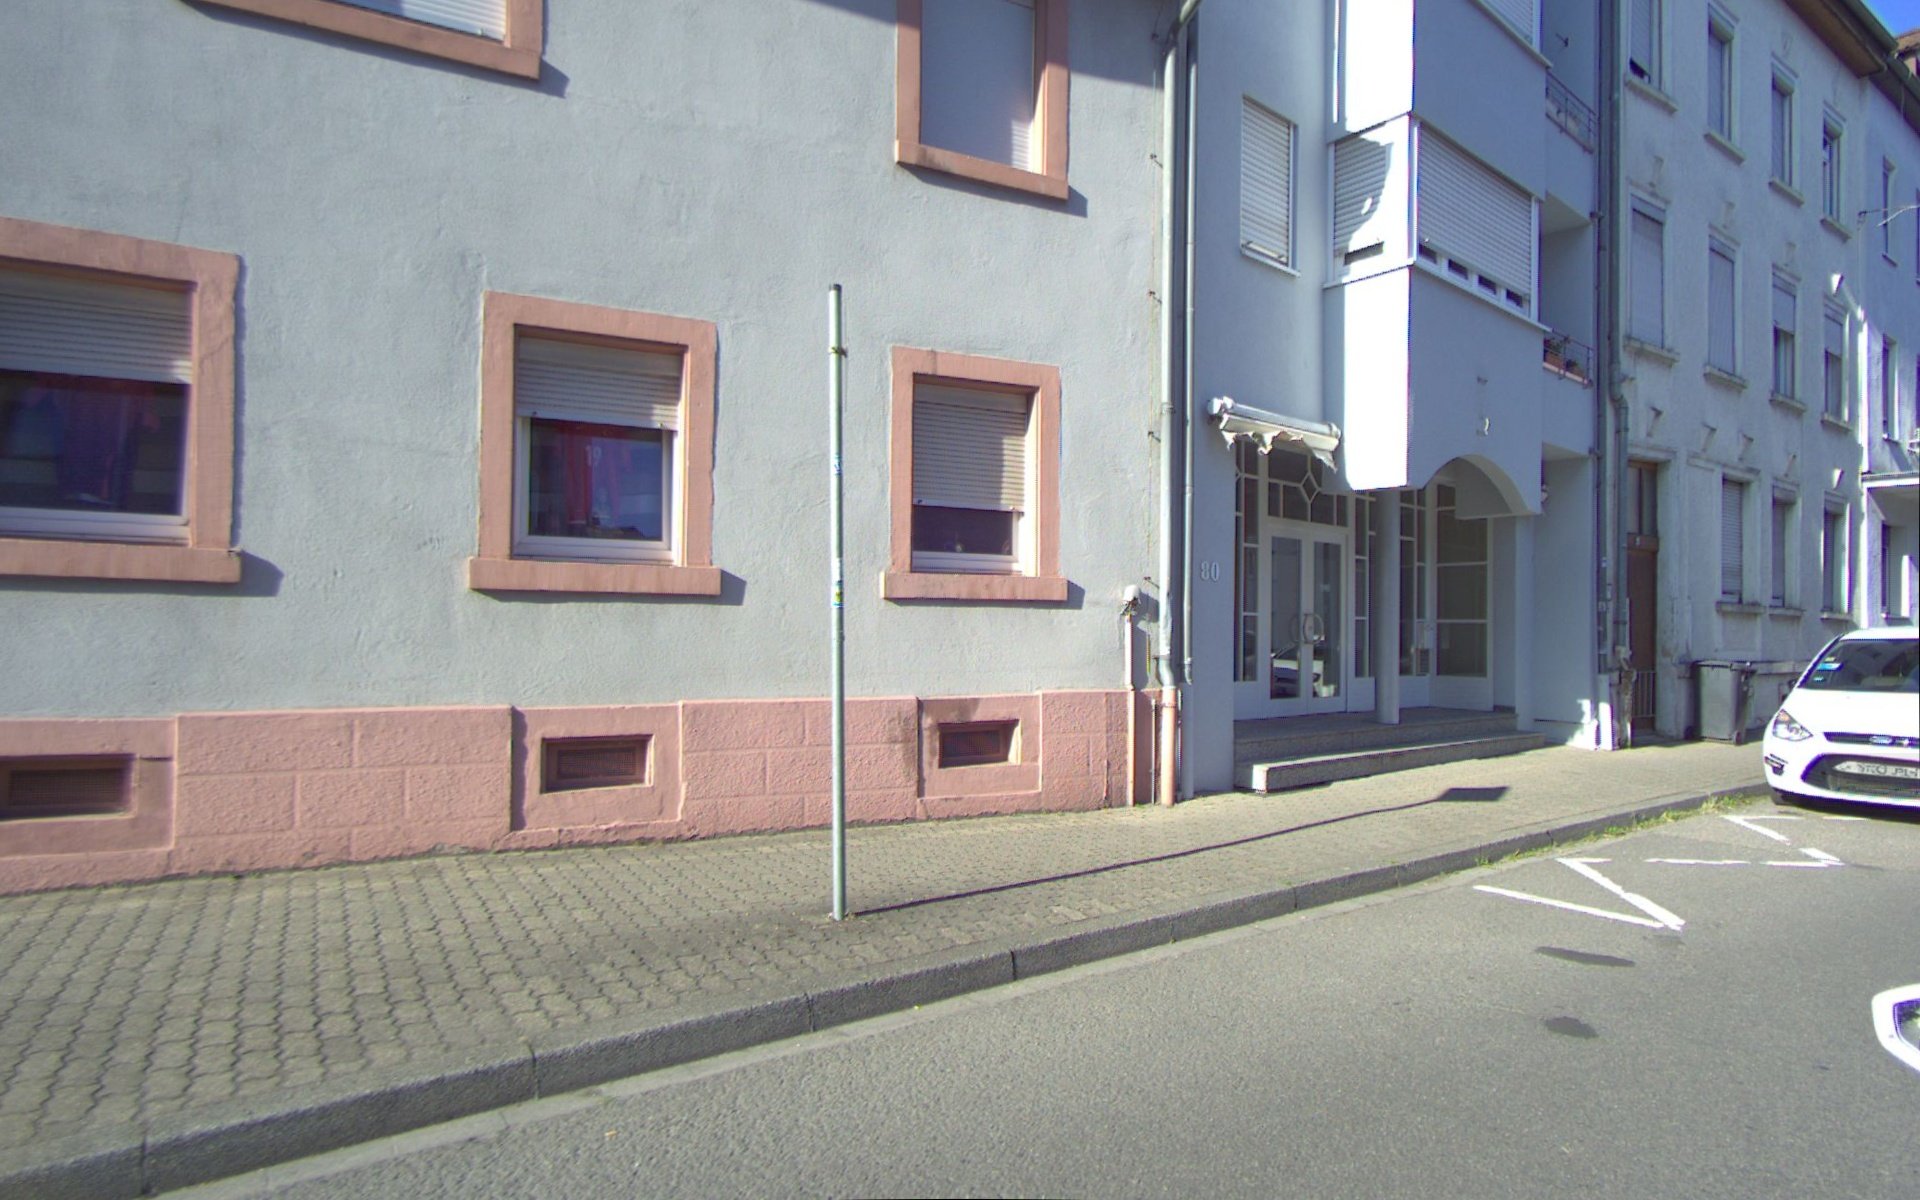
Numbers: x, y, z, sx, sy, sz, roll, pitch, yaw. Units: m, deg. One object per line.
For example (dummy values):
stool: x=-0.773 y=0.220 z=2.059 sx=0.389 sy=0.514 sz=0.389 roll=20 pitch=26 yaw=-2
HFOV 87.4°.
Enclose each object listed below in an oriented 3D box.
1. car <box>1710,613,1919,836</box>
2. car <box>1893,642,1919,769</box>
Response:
car: x=9.061 y=0.997 z=9.384 sx=5.174 sy=1.669 sz=1.979 roll=2 pitch=-1 yaw=-37
car: x=13.511 y=1.272 z=12.671 sx=4.086 sy=1.515 sz=1.753 roll=2 pitch=-4 yaw=-36
